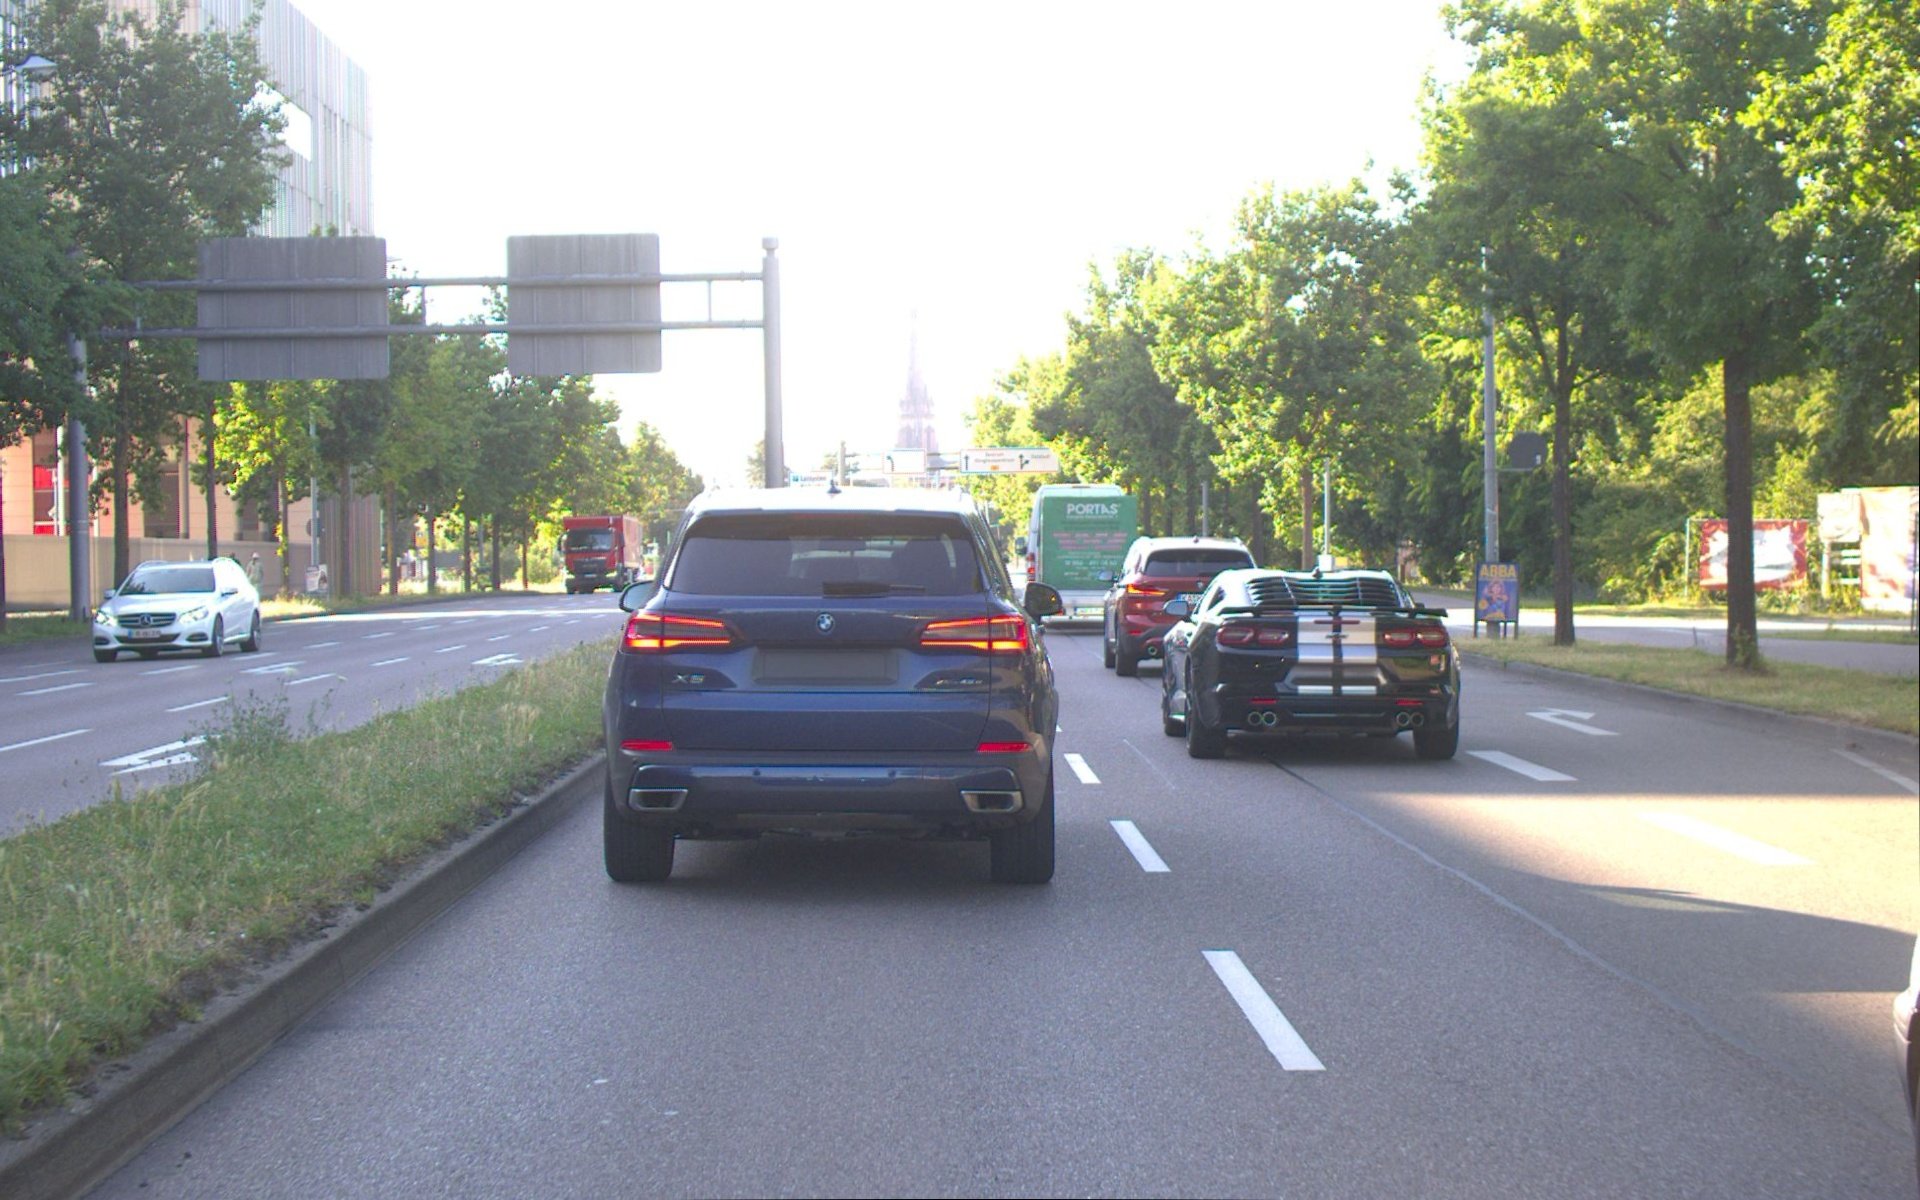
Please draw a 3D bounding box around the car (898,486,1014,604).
[{"bbox_3d":[-0.134,-1.200,78.045,2.136,2.567,5.088,1,0,-6],"label":"car"}]

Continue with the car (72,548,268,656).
[{"bbox_3d":[-12.136,0.032,53.102,1.993,1.447,4.715,-4,0,-2],"label":"car"}]

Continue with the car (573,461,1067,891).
[{"bbox_3d":[-0.596,0.317,16.327,1.993,1.728,4.533,1,0,-1],"label":"car"}]

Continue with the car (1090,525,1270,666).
[{"bbox_3d":[2.541,-0.041,40.481,1.796,1.553,4.000,1,0,-1],"label":"car"}]

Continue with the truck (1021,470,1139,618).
[{"bbox_3d":[2.207,-1.017,64.439,1.996,2.659,4.000,1,0,-1],"label":"truck"}]

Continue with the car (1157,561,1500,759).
[{"bbox_3d":[2.567,0.405,24.876,1.993,1.290,4.000,1,0,-1],"label":"car"}]

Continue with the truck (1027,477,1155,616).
[{"bbox_3d":[2.243,-0.886,59.748,1.996,2.307,4.000,1,0,-1],"label":"truck"}]

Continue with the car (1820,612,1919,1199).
[{"bbox_3d":[2.813,0.738,5.832,1.578,1.408,4.062,1,0,-1],"label":"car"}]

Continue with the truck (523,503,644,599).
[{"bbox_3d":[-16.835,-2.127,154.626,3.989,4.074,11.448,1,0,1],"label":"truck"}]
